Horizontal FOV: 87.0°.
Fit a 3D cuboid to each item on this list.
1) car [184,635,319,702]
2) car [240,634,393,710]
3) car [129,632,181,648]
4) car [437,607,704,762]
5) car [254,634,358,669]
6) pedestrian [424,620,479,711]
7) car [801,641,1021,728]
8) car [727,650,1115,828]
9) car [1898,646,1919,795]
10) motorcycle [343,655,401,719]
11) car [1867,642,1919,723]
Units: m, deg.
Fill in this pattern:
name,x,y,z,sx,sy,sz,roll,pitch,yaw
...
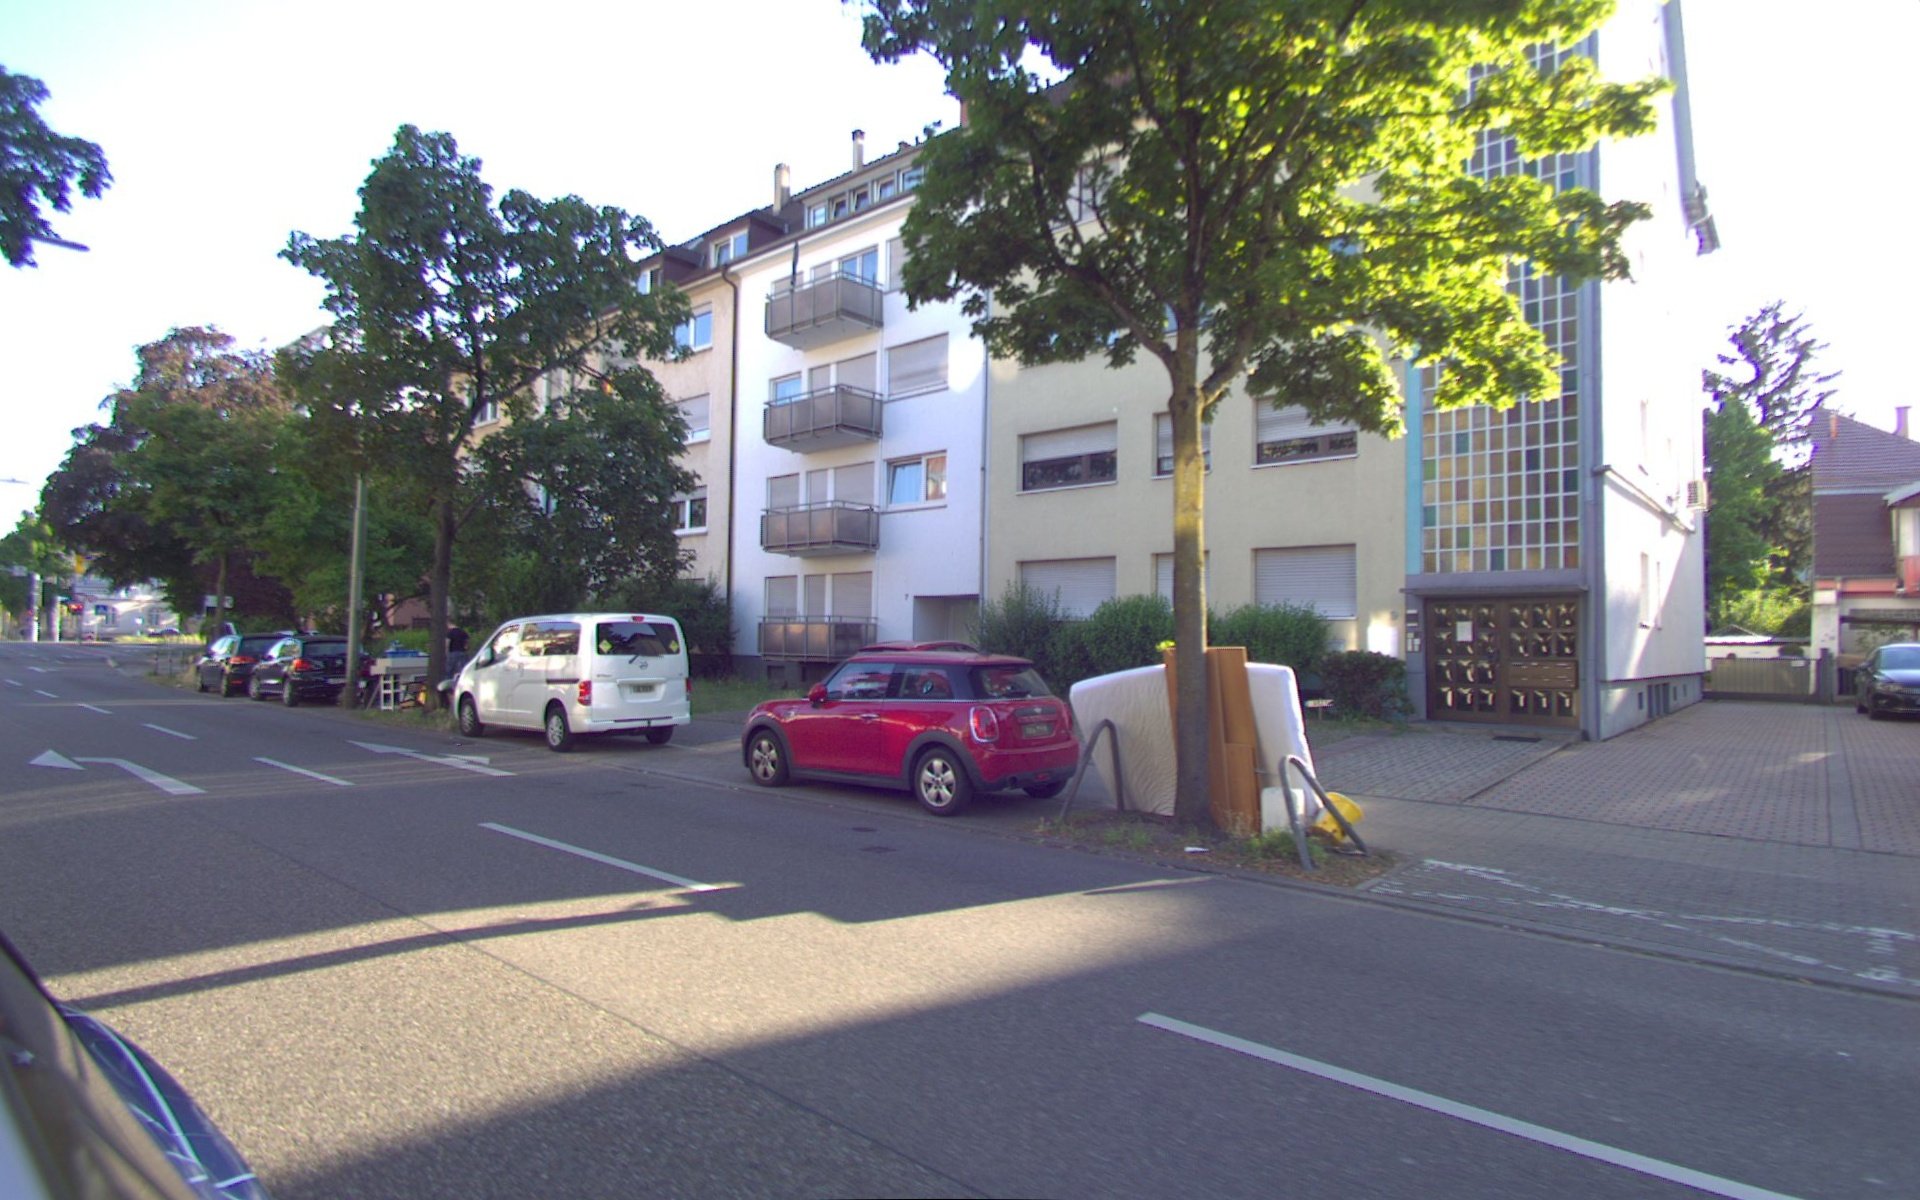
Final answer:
name,x,y,z,sx,sy,sz,roll,pitch,yaw
car,-17.595,1.645,25.063,4.194,1.514,1.732,-2,-4,41
car,-14.091,1.523,22.081,3.976,1.514,1.732,-2,-4,41
car,-79.286,3.950,99.709,1.996,1.457,3.602,-2,-3,36
car,-5.808,1.154,14.817,4.457,1.934,1.751,-2,-4,41
car,-29.295,2.320,45.405,1.812,1.497,3.465,-2,-4,37
pedestrian,-11.577,1.481,23.039,0.975,2.029,0.759,-2,-4,40
car,-0.732,1.480,18.752,1.991,1.373,4.681,-1,-3,28
car,-0.500,1.236,10.203,3.784,1.432,1.699,-2,-4,41
car,9.956,1.180,8.937,1.997,1.490,3.950,-2,-3,37
motorcycle,-11.571,1.691,19.962,0.434,1.201,1.711,1,-3,-12
car,19.443,1.593,20.253,1.808,1.490,3.943,-2,-3,43
